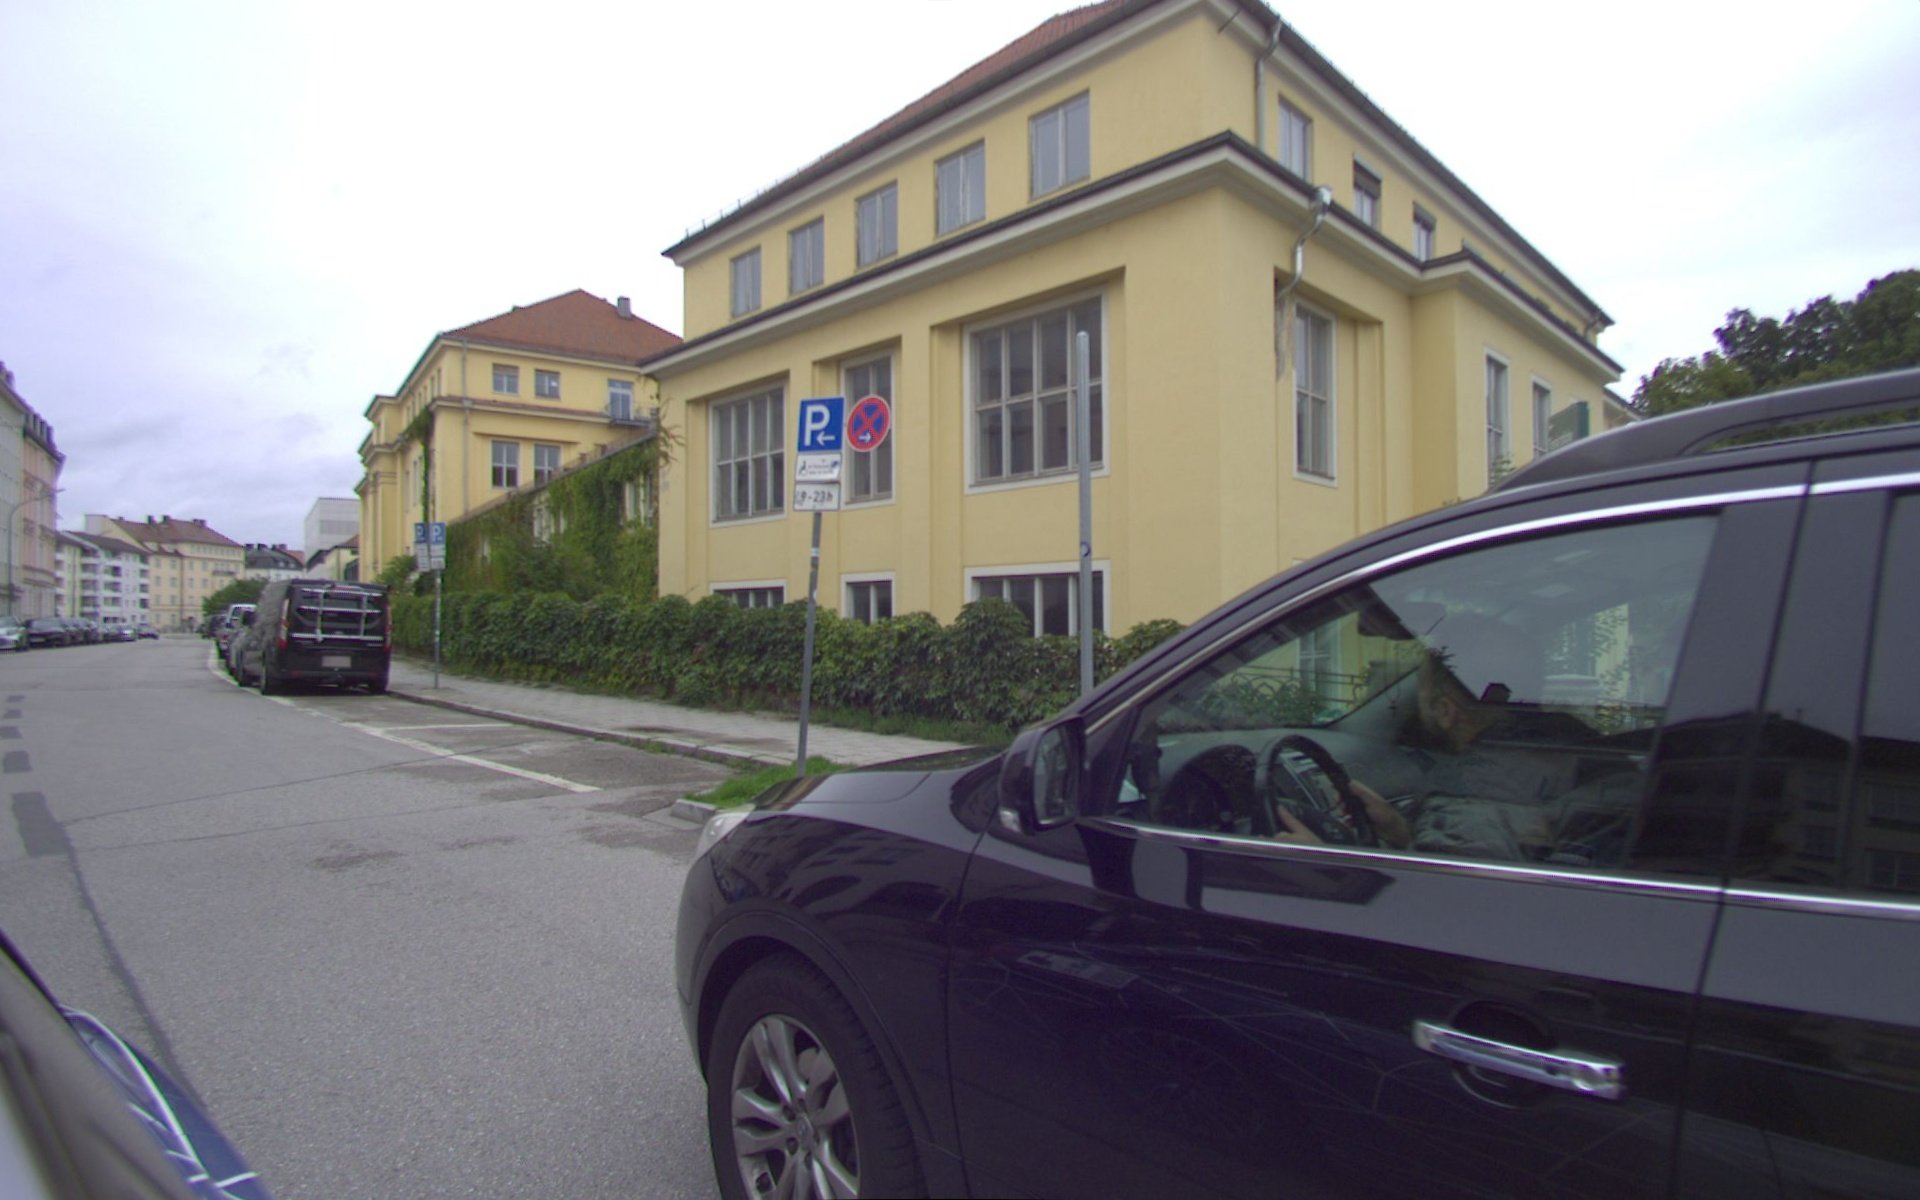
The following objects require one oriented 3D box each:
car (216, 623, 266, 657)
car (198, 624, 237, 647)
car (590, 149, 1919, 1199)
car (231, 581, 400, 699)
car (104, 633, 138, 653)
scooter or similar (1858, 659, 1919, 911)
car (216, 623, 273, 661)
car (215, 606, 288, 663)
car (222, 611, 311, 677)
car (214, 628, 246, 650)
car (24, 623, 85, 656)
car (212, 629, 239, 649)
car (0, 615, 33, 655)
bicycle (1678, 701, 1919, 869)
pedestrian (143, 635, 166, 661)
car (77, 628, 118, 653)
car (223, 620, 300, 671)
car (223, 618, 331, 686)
[{"bbox_3d":[-34.541,1.920,48.574,1.695,1.492,4.228,6,-6,-37],"label":"car"},{"bbox_3d":[-85.065,4.088,115.880,2.805,2.571,6.900,3,-3,-42],"label":"car"},{"bbox_3d":[1.388,0.516,1.614,1.970,1.732,4.617,2,-3,-45],"label":"car"},{"bbox_3d":[-12.476,0.796,19.456,1.902,1.994,4.628,5,-5,-42],"label":"car"},{"bbox_3d":[-72.097,3.678,87.029,1.970,1.584,4.501,-2,-1,-36],"label":"car"},{"bbox_3d":[5.389,0.965,5.528,1.243,1.253,0.395,1,0,-33],"label":"scooter or similar"},{"bbox_3d":[-28.603,1.680,40.416,1.645,1.420,3.566,5,-5,-37],"label":"car"},{"bbox_3d":[-25.448,1.269,36.291,1.868,1.812,4.891,6,-6,-36],"label":"car"},{"bbox_3d":[-19.040,1.208,27.705,1.680,1.619,4.500,5,-5,-37],"label":"car"},{"bbox_3d":[-51.772,2.764,71.778,1.711,1.450,3.788,5,-5,-36],"label":"car"},{"bbox_3d":[-44.017,1.924,49.269,1.849,1.458,4.710,-1,-1,-38],"label":"car"},{"bbox_3d":[-62.927,3.348,86.679,1.746,1.566,4.219,5,-4,-36],"label":"car"},{"bbox_3d":[-38.971,1.472,40.991,1.593,1.528,3.388,-4,0,-35],"label":"car"},{"bbox_3d":[5.415,1.148,6.433,1.323,0.900,0.430,1,-1,27],"label":"bicycle"},{"bbox_3d":[-94.661,5.640,118.926,1.899,2.973,2.029,2,-3,-36],"label":"pedestrian"},{"bbox_3d":[-58.545,2.772,68.731,1.741,1.552,4.009,-2,0,-36],"label":"car"},{"bbox_3d":[-22.214,1.425,32.125,1.780,1.388,4.501,7,-5,-36],"label":"car"},{"bbox_3d":[-15.953,1.207,23.571,1.685,1.376,4.009,6,-6,-38],"label":"car"}]
